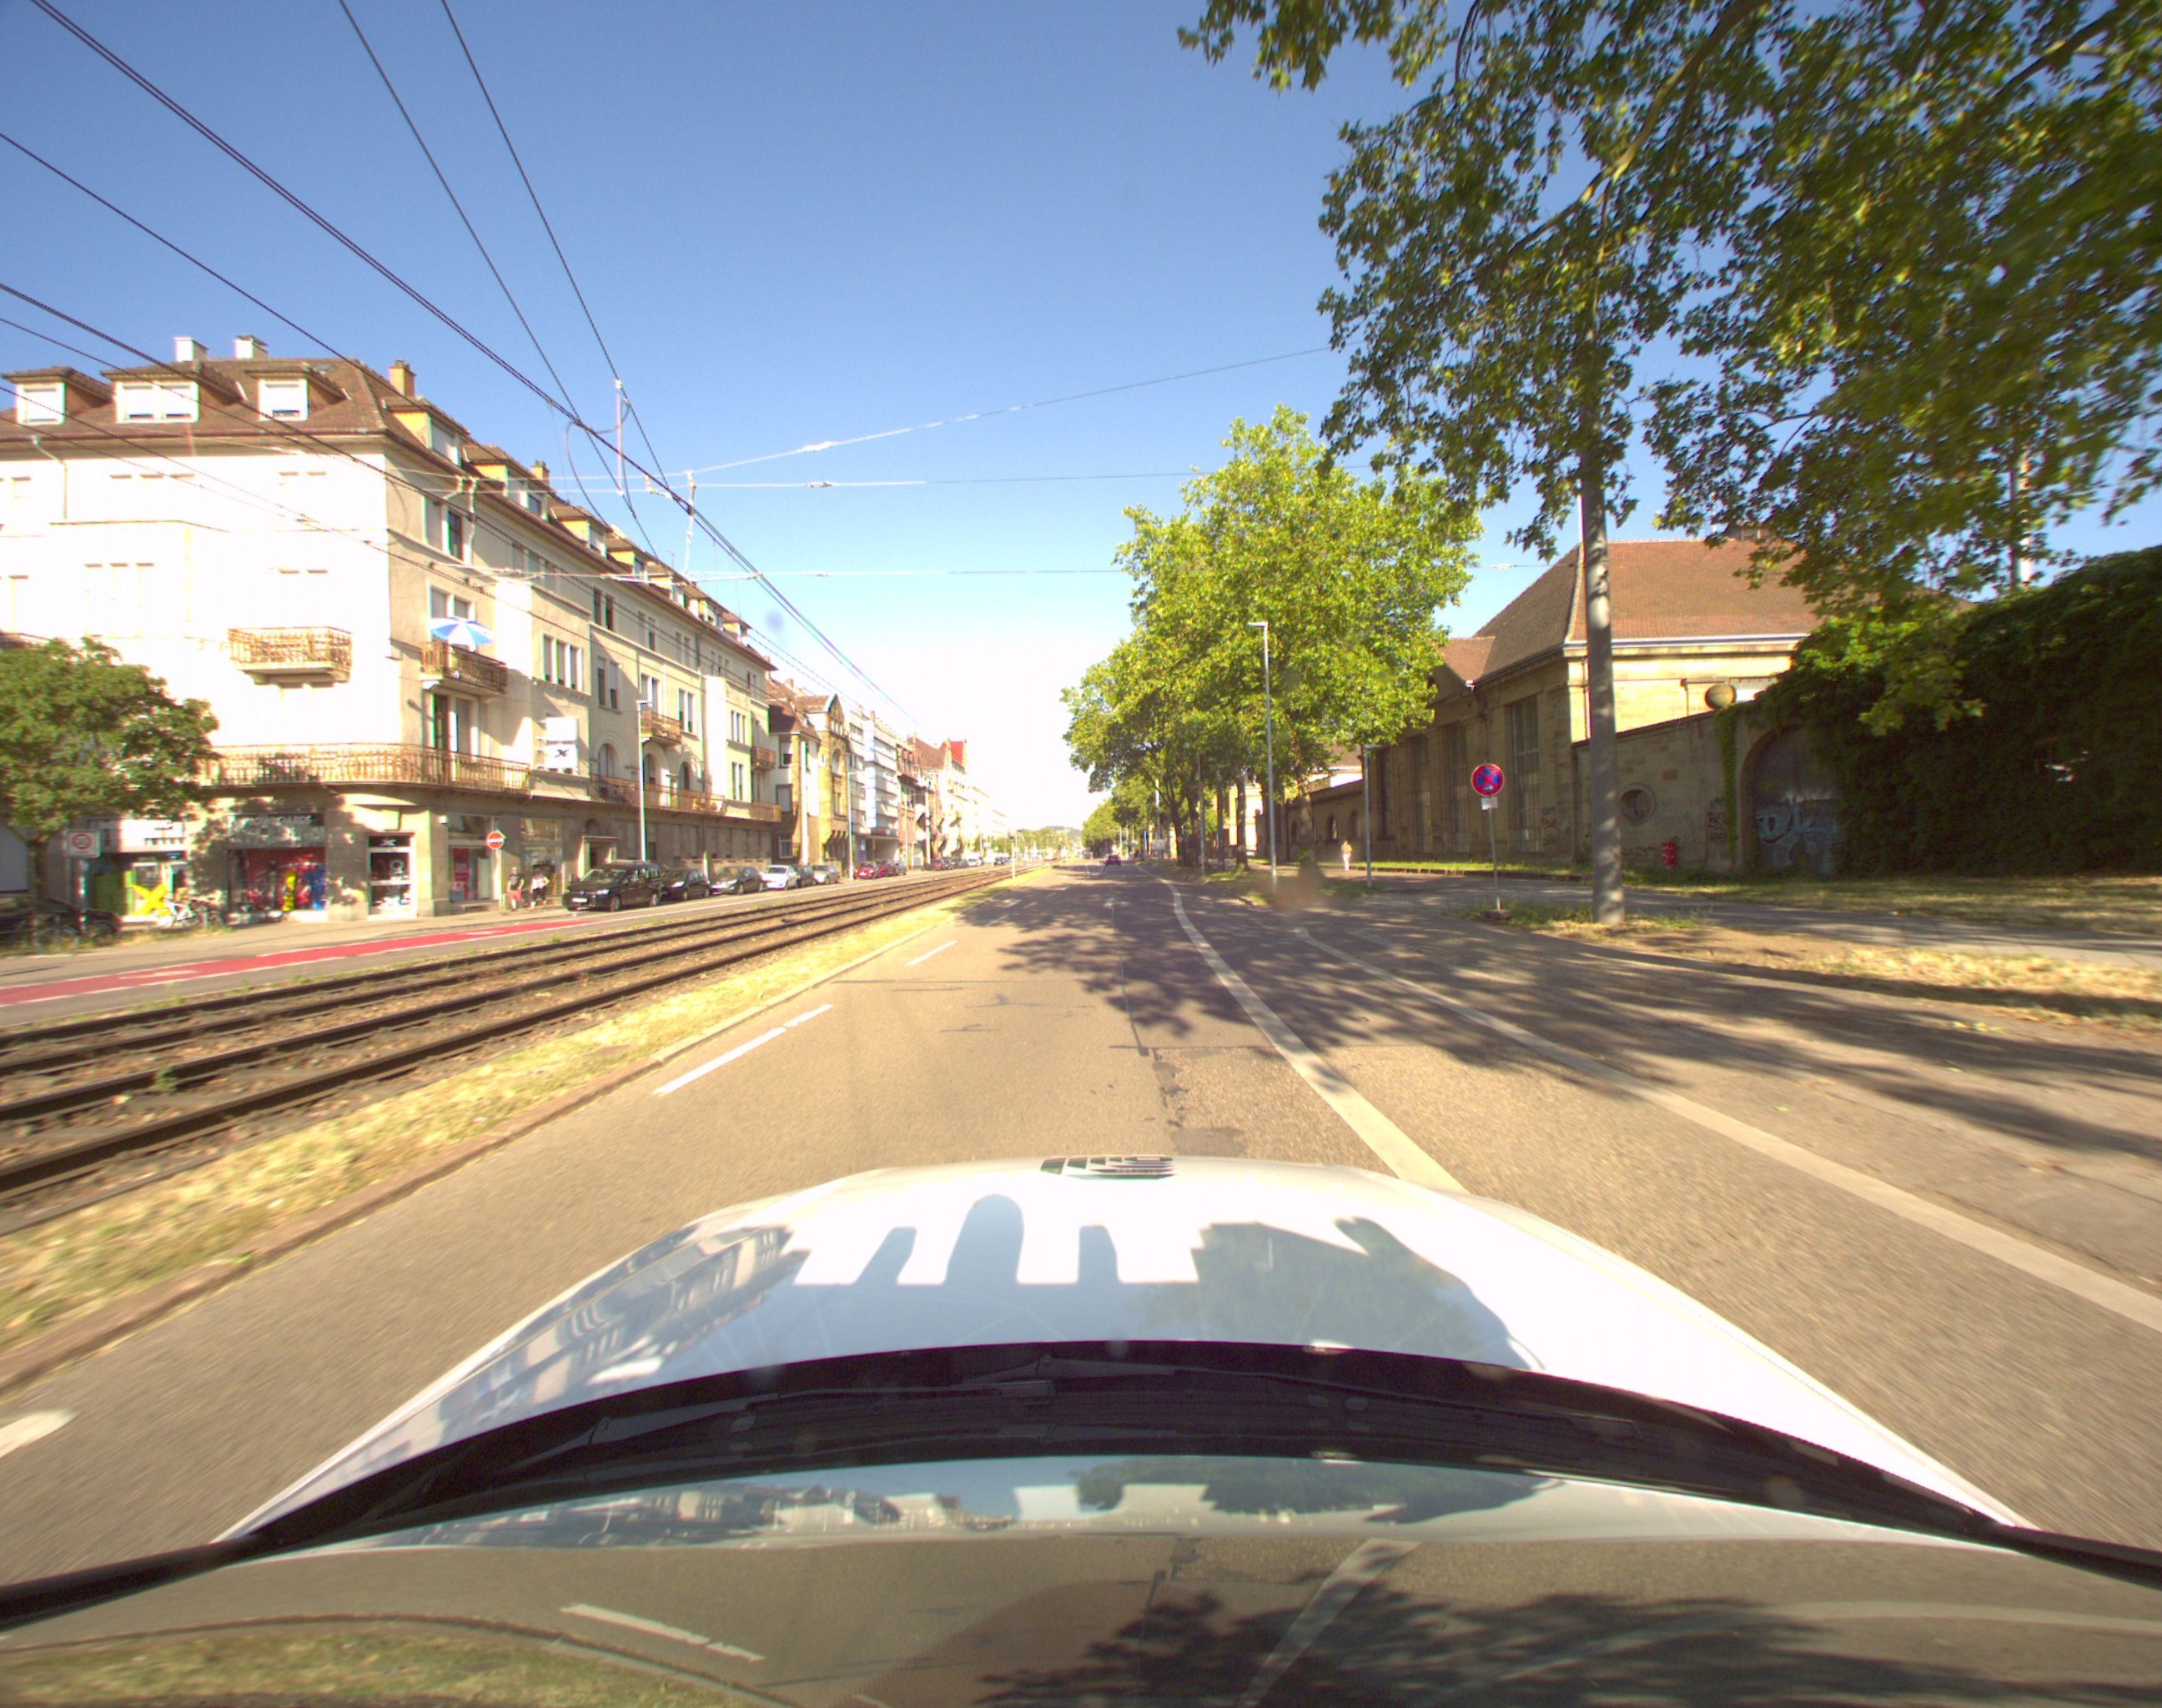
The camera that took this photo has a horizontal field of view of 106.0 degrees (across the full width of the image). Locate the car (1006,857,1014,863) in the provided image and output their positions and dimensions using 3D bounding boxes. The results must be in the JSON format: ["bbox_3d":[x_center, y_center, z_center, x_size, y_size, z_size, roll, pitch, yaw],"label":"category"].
[{"bbox_3d":[-18.538,1.447,213.338,1.790,1.510,3.997,-2,0,-2],"label":"car"}]

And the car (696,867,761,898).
[{"bbox_3d":[-18.589,1.448,43.167,1.630,1.469,4.158,1,0,0],"label":"car"}]

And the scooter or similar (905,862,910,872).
[{"bbox_3d":[-21.027,1.597,98.720,0.389,1.205,1.200,1,-1,1],"label":"scooter or similar"}]

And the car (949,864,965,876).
[{"bbox_3d":[-18.047,2.339,118.482,1.681,1.652,4.199,1,0,0],"label":"car"}]

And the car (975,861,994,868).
[{"bbox_3d":[-22.461,2.434,189.978,3.957,1.510,1.807,0,-1,15],"label":"car"}]

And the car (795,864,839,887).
[{"bbox_3d":[-18.544,1.464,57.347,1.629,1.469,4.159,0,0,1],"label":"car"}]

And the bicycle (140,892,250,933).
[{"bbox_3d":[-27.975,1.844,25.724,2.866,1.161,0.754,-2,0,6],"label":"bicycle"}]

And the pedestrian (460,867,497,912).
[{"bbox_3d":[-22.833,1.334,30.896,0.637,1.661,0.955,0,-1,2],"label":"pedestrian"}]

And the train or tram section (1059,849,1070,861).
[{"bbox_3d":[-5.083,0.275,255.985,2.815,3.451,9.066,-2,0,1],"label":"train or tram section"}]

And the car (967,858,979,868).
[{"bbox_3d":[-18.081,1.468,136.496,1.791,1.510,3.994,1,0,-4],"label":"car"}]

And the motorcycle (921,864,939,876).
[{"bbox_3d":[-18.502,1.962,99.612,2.072,1.327,0.836,1,0,-16],"label":"motorcycle"}]

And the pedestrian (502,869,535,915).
[{"bbox_3d":[-21.333,1.422,30.905,0.587,1.697,0.858,0,-1,2],"label":"pedestrian"}]

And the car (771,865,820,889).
[{"bbox_3d":[-18.254,1.444,52.197,1.630,1.469,4.158,1,0,0],"label":"car"}]

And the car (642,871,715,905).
[{"bbox_3d":[-18.639,1.526,37.863,1.623,1.391,3.507,1,0,-1],"label":"car"}]

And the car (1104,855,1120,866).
[{"bbox_3d":[3.963,0.813,103.127,1.828,1.391,4.158,-1,0,0],"label":"car"}]

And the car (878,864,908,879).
[{"bbox_3d":[-18.519,1.704,80.277,1.828,1.391,4.681,-1,0,0],"label":"car"}]

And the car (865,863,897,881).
[{"bbox_3d":[-18.350,1.603,74.955,1.827,1.558,4.354,0,0,1],"label":"car"}]

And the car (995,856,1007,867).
[{"bbox_3d":[-13.730,1.270,139.588,1.631,1.601,4.156,-3,0,-2],"label":"car"}]

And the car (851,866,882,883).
[{"bbox_3d":[-18.302,1.719,69.661,1.830,1.391,4.029,1,0,-5],"label":"car"}]

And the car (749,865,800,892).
[{"bbox_3d":[-17.986,1.441,48.008,1.631,1.469,3.978,2,-1,-3],"label":"car"}]

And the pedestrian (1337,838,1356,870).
[{"bbox_3d":[14.094,-0.002,43.238,0.606,1.681,0.635,-6,0,-2],"label":"pedestrian"}]

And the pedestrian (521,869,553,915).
[{"bbox_3d":[-20.612,1.422,30.886,0.587,1.697,0.858,0,-1,2],"label":"pedestrian"}]

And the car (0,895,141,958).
[{"bbox_3d":[-28.191,1.900,21.636,1.770,1.464,4.236,0,-1,-6],"label":"car"}]

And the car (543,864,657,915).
[{"bbox_3d":[-18.522,1.311,31.643,1.857,1.786,4.400,0,0,-1],"label":"car"}]

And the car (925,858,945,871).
[{"bbox_3d":[-18.462,1.309,103.295,1.789,1.460,4.265,1,0,-1],"label":"car"}]

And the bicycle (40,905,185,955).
[{"bbox_3d":[-24.295,1.869,20.520,0.681,1.016,2.414,0,0,3],"label":"bicycle"}]

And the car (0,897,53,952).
[{"bbox_3d":[-30.948,1.977,21.243,2.052,1.510,4.895,-2,-1,0],"label":"car"}]
